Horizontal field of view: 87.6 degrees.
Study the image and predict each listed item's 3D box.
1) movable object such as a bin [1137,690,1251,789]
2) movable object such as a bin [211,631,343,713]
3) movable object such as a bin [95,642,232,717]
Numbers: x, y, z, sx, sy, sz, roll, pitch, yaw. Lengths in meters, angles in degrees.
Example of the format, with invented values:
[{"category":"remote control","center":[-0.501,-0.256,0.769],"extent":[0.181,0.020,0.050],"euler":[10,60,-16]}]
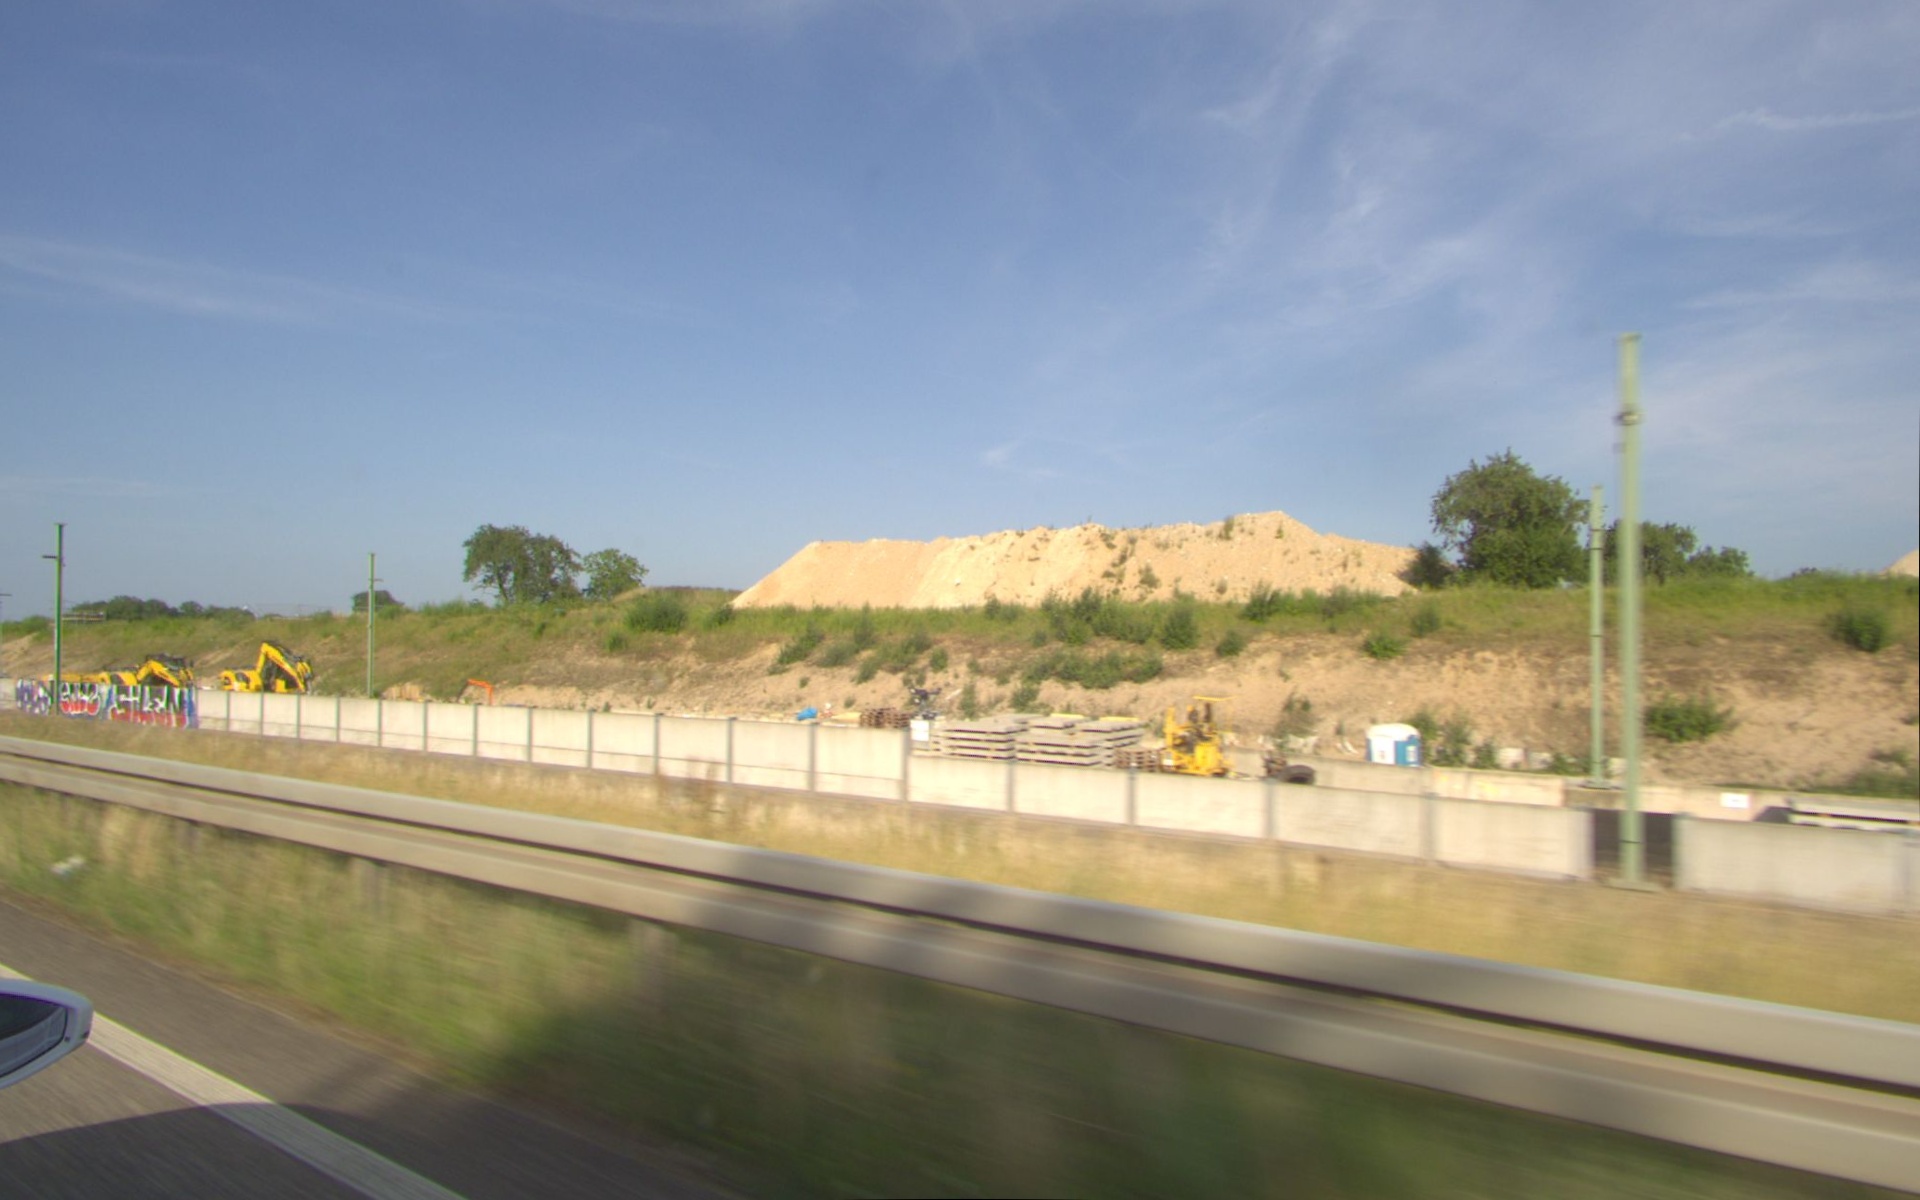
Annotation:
[{"category":"movable object such as a bin","center":[7.208,4.229,30.880],"extent":[2.874,2.695,2.008],"euler":[1,-1,-33]},{"category":"movable object such as a bin","center":[-35.271,3.604,51.636],"extent":[7.428,3.936,2.792],"euler":[-1,-1,31]},{"category":"movable object such as a bin","center":[-38.613,3.729,48.445],"extent":[7.956,3.280,2.618],"euler":[-1,-2,31]}]
